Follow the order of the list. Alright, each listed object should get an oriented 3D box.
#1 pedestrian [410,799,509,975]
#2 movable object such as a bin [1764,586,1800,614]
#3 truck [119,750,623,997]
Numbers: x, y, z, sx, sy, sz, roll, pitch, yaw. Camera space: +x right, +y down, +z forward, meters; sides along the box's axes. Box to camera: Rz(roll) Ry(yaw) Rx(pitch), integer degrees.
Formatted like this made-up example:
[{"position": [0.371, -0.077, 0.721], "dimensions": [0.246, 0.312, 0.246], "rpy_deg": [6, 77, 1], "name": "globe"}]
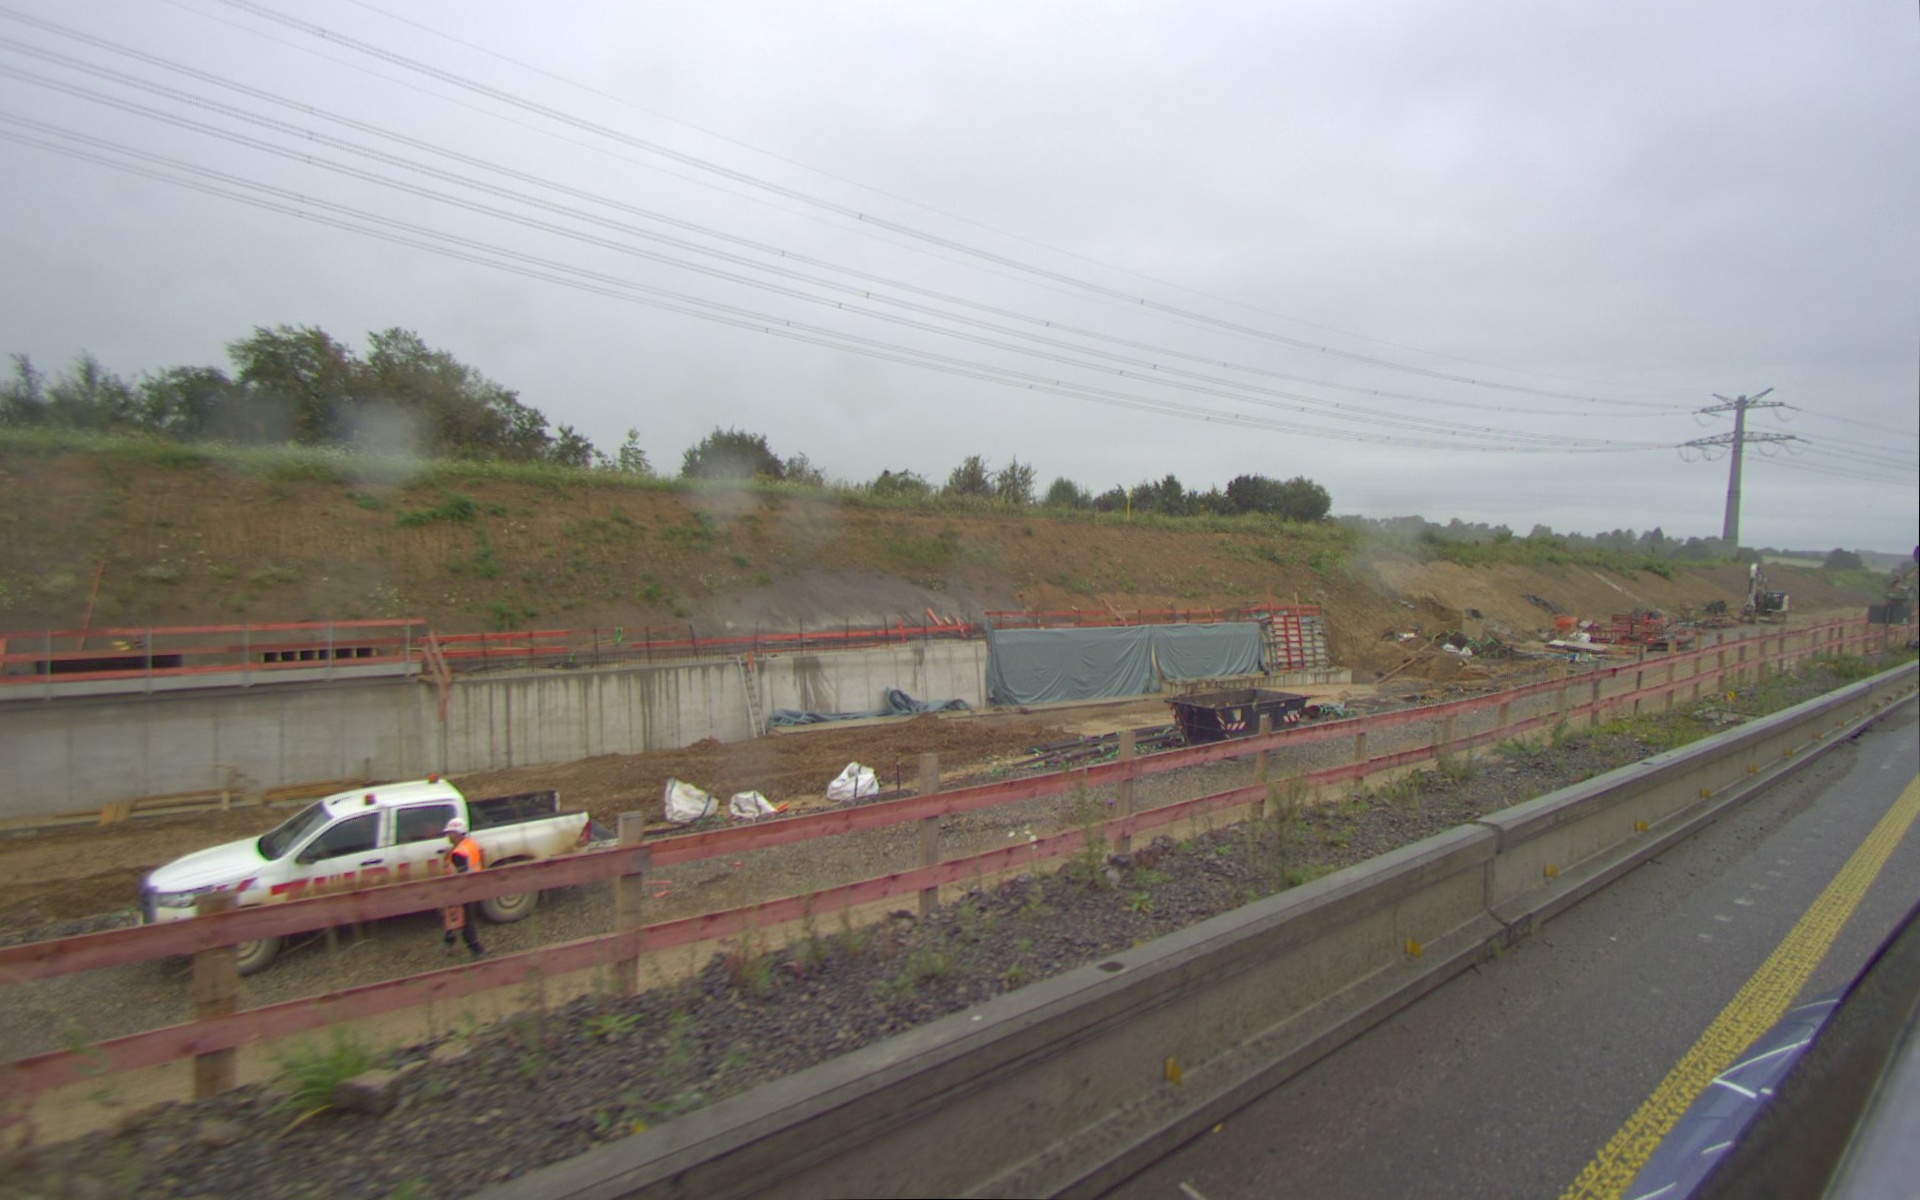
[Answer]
[{"position": [-6.272, 3.544, 12.689], "dimensions": [0.932, 1.821, 0.799], "rpy_deg": [2, 2, 38], "name": "pedestrian"}, {"position": [81.013, -0.007, 99.730], "dimensions": [3.932, 2.753, 2.249], "rpy_deg": [-1, 0, -42], "name": "movable object such as a bin"}, {"position": [-7.717, 3.424, 13.773], "dimensions": [5.683, 1.894, 1.767], "rpy_deg": [-1, 3, -39], "name": "truck"}]
